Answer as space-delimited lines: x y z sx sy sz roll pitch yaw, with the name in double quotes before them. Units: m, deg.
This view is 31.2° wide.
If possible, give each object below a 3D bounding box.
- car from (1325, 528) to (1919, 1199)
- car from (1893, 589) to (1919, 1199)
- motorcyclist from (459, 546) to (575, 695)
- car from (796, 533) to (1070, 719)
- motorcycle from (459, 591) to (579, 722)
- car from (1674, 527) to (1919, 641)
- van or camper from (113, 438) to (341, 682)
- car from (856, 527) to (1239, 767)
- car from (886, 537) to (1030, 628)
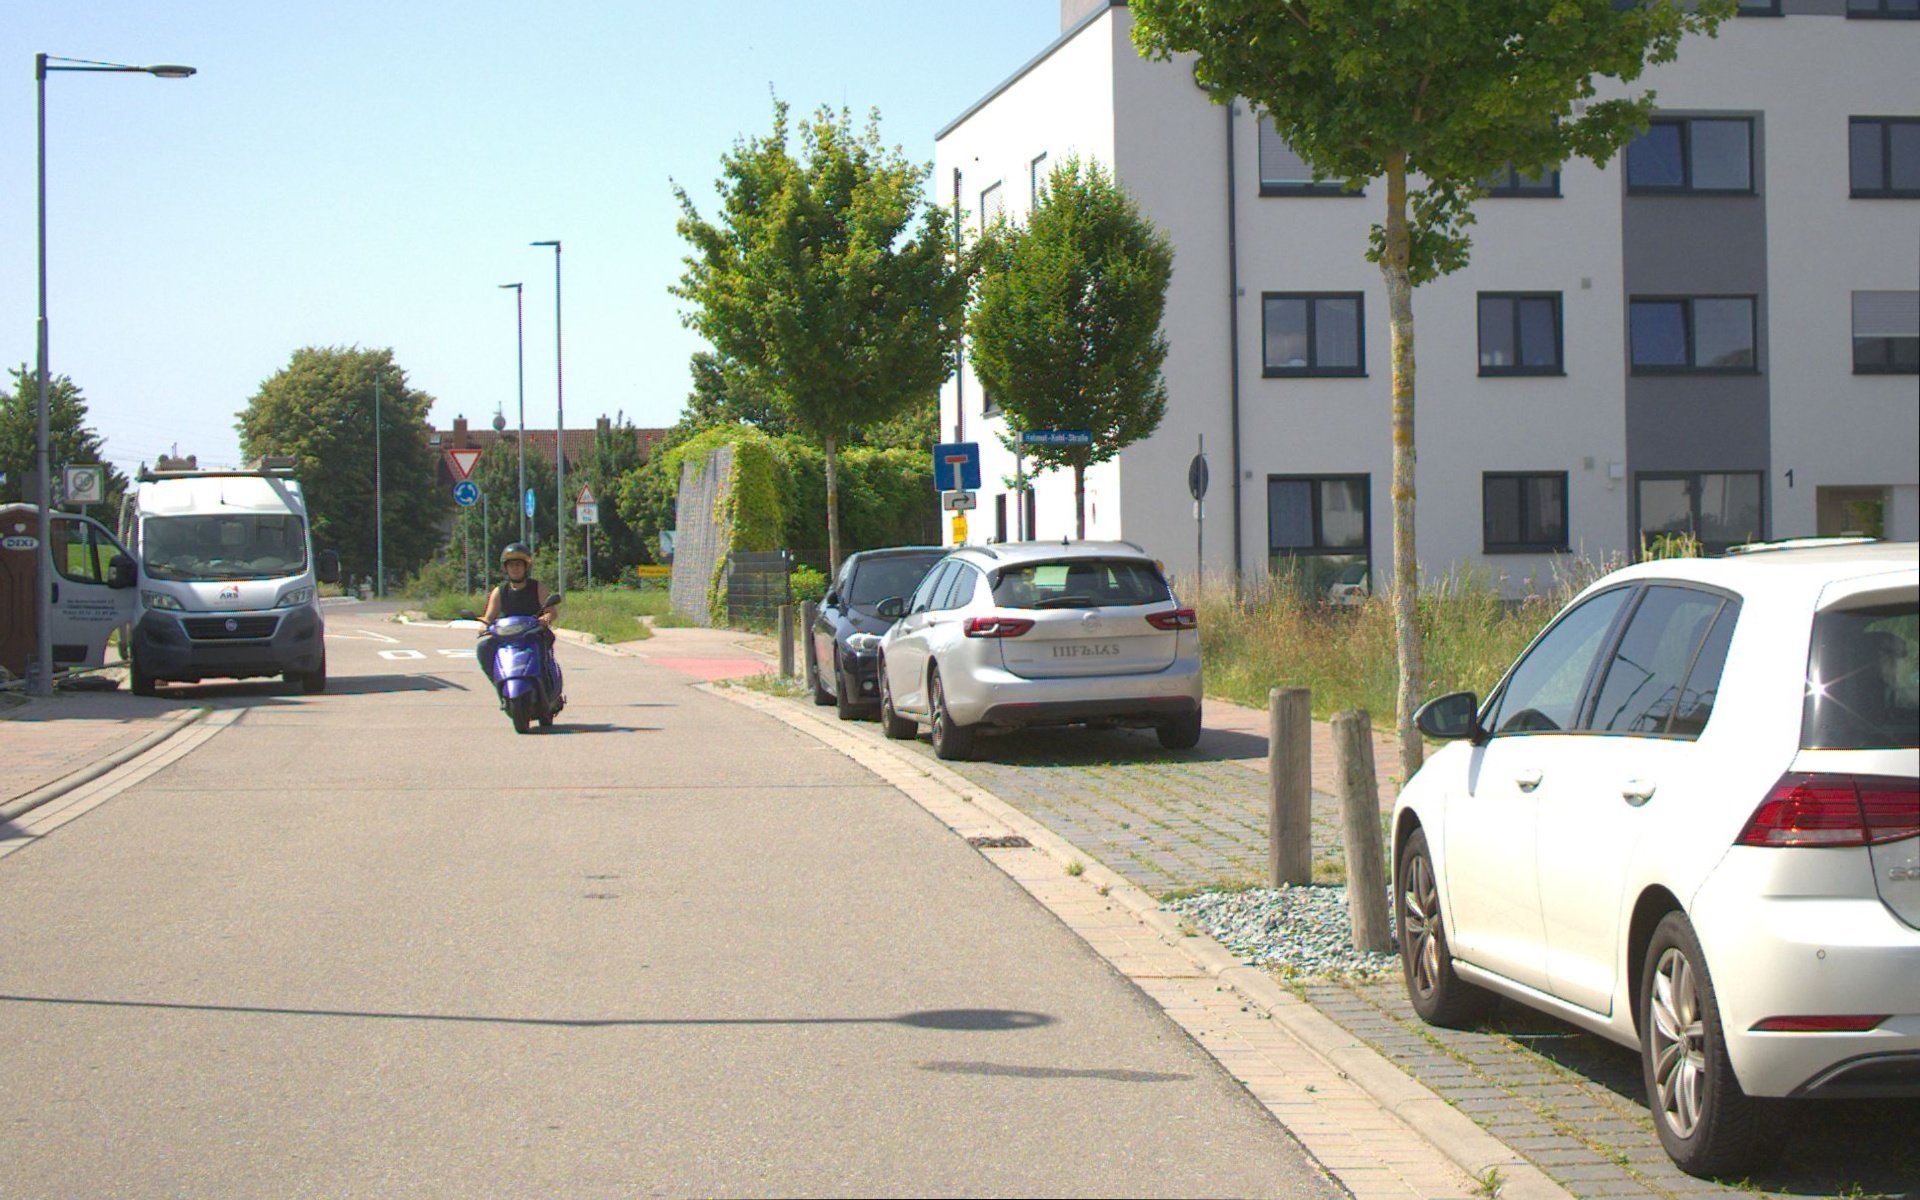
"car" 2.350 0.555 9.492 1.779 1.421 4.515 -2 2 -5
"car" 2.534 0.706 3.163 1.814 1.451 4.565 -2 1 -4
"motorcyclist" -3.741 0.165 29.067 0.924 1.218 0.804 -1 2 -6
"car" -0.342 0.168 31.394 1.918 1.464 5.141 -2 2 -6
"motorcycle" -3.761 0.461 29.400 0.955 1.031 2.437 -1 1 -7
"car" 11.912 -0.223 46.103 4.157 1.431 1.883 -1 0 -10
"van or camper" -8.518 -0.437 39.497 2.272 2.544 6.369 -1 0 -14
"car" 0.510 0.250 25.383 1.918 1.506 5.296 -2 2 -8
"car" -0.073 -0.321 58.063 1.677 1.464 4.118 0 1 -11
